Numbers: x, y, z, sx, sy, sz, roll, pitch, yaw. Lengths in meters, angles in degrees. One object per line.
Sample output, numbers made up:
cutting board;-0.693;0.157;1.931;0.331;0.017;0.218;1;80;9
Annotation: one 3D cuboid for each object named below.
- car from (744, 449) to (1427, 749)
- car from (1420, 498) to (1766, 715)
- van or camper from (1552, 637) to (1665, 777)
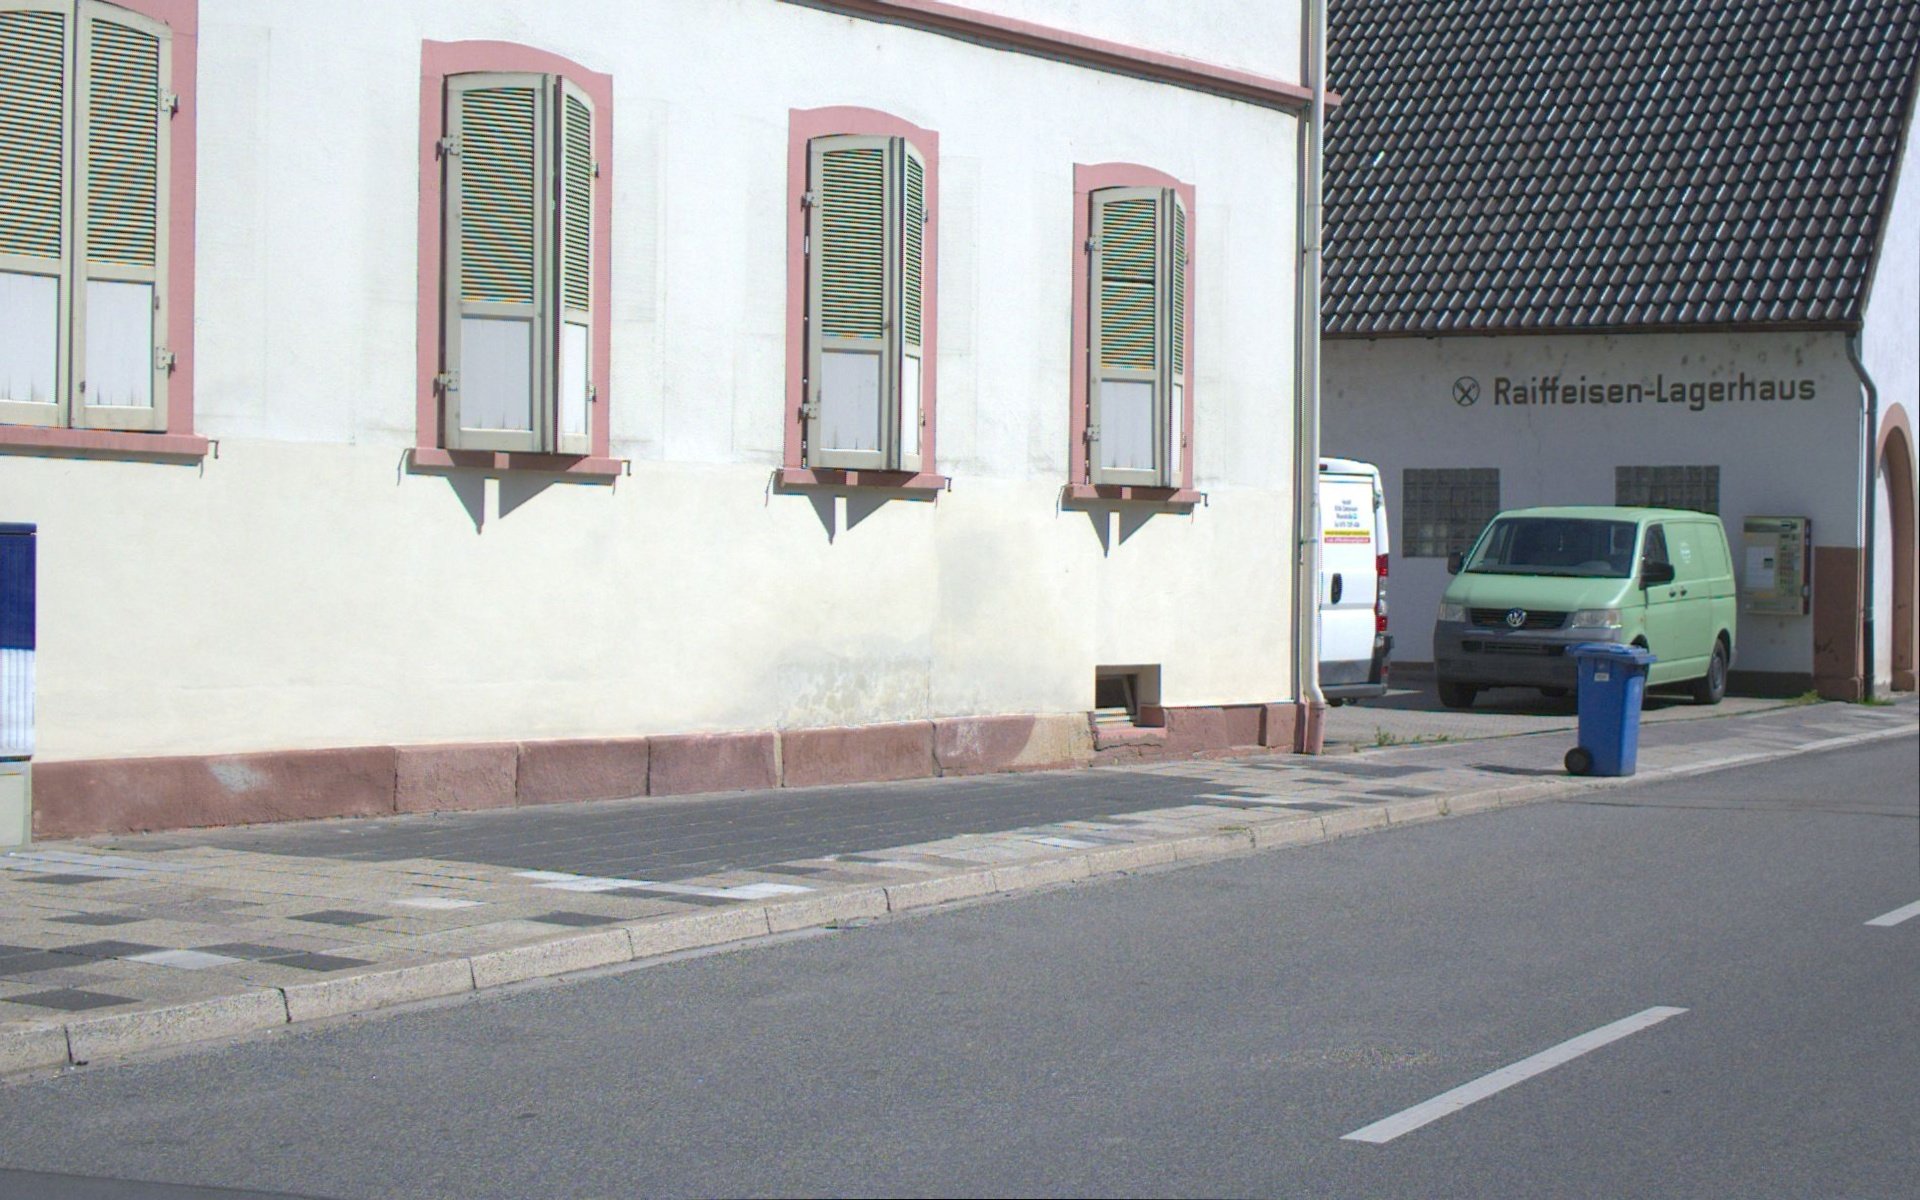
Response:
car;0.937;-0.085;27.699;5.187;2.189;2.118;2;2;37
car;6.268;0.028;33.633;1.997;1.958;4.662;1;1;28
van or camper;4.600;0.748;24.379;0.590;0.948;0.599;2;1;32
